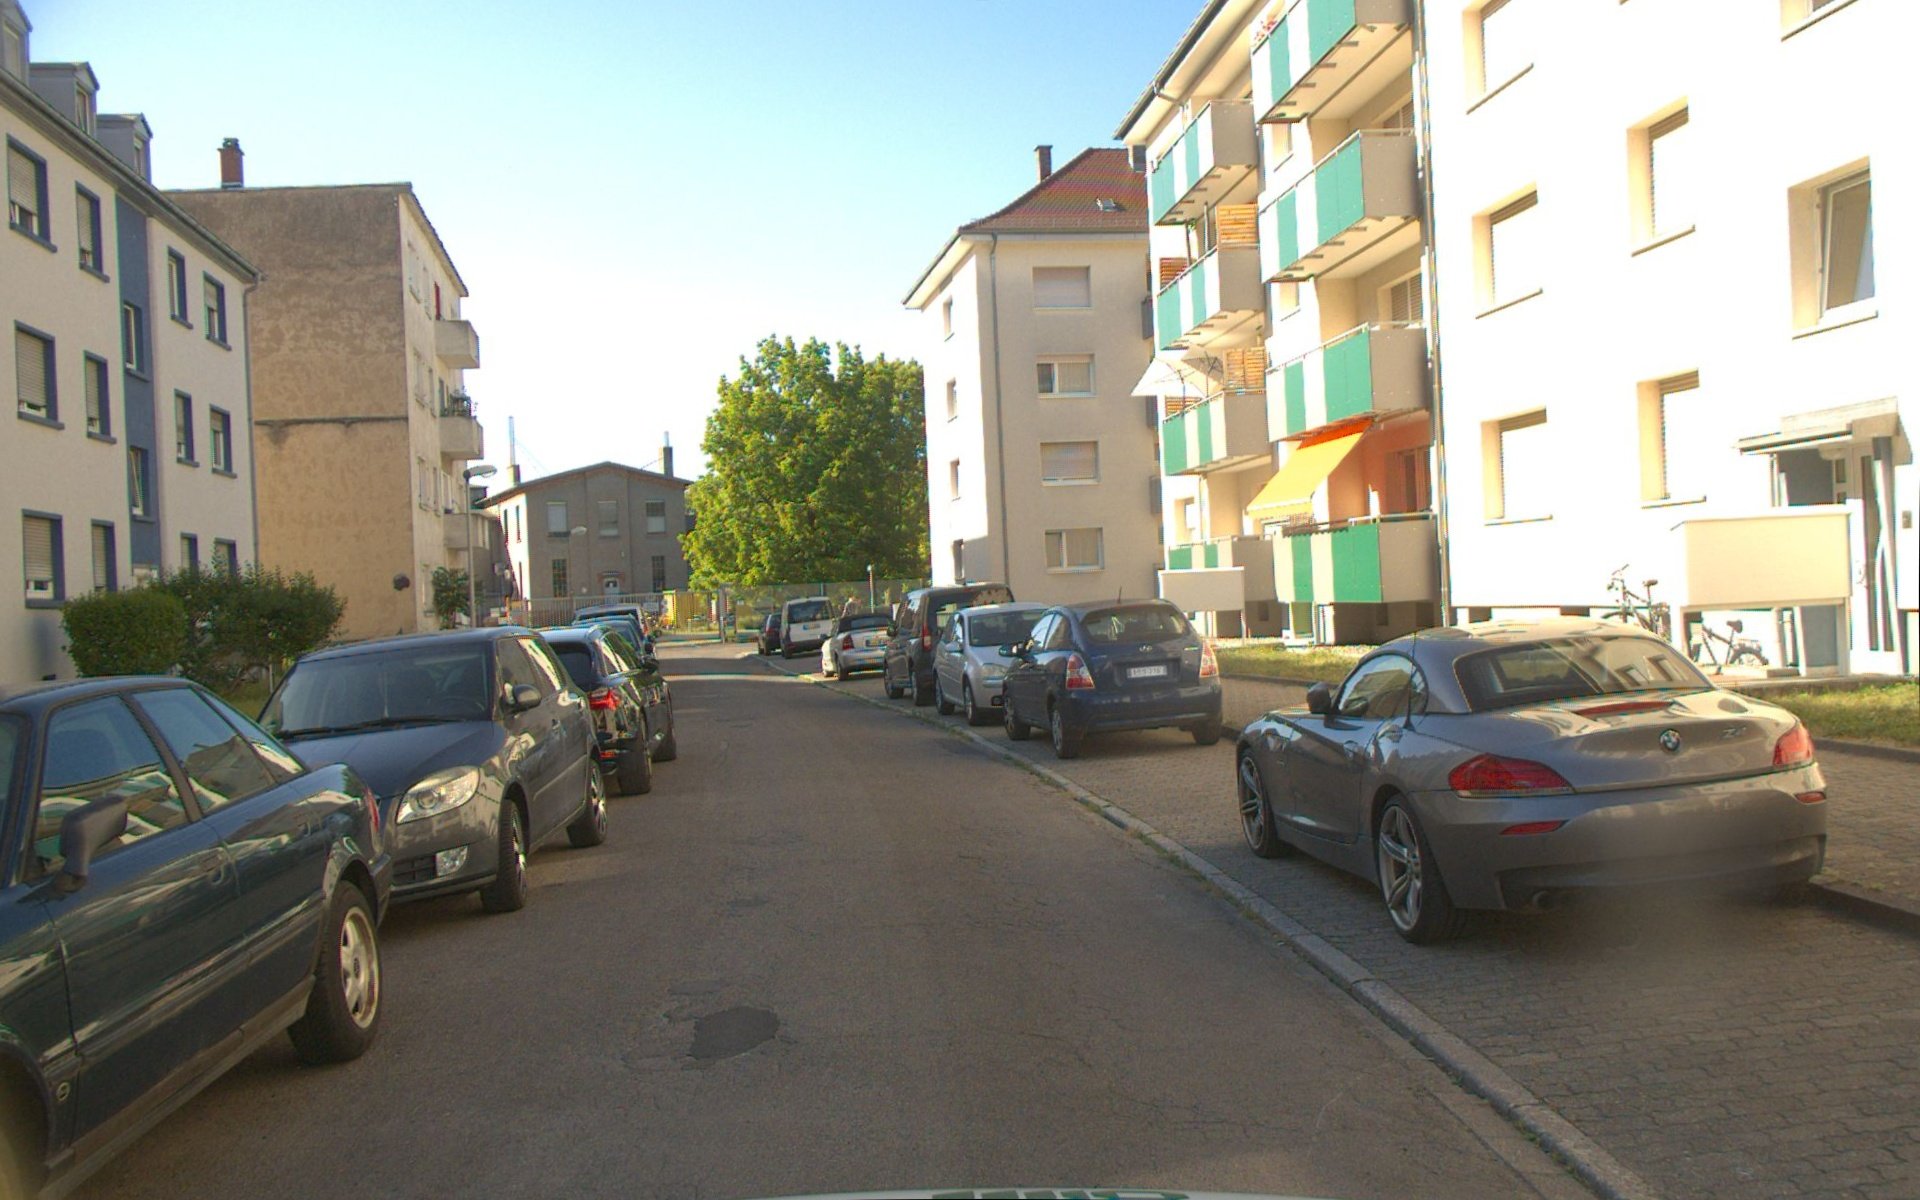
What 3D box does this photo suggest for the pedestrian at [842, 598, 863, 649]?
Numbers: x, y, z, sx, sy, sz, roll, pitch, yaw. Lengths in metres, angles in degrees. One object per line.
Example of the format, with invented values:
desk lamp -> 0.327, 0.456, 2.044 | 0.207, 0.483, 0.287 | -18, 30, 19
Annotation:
pedestrian -> -4.015, 0.871, 61.912 | 0.641, 1.847, 0.614 | -4, -1, -1

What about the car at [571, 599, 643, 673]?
car -> -10.924, 1.122, 51.401 | 1.958, 2.048, 4.442 | -4, -1, -11

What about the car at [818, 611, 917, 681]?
car -> -2.166, 1.042, 37.650 | 1.686, 1.388, 4.044 | -4, -1, -10

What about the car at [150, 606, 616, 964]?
car -> -3.066, 0.880, 9.537 | 1.450, 1.502, 3.629 | -6, 0, -3

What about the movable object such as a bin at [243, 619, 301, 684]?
movable object such as a bin -> -17.660, 1.313, 42.484 | 1.050, 1.566, 1.353 | -4, -1, -13

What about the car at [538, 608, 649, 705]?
car -> -6.761, 1.019, 30.776 | 1.800, 1.541, 3.988 | -4, -1, -11

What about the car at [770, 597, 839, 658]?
car -> -5.076, 0.892, 53.576 | 1.734, 1.770, 4.083 | -4, -1, -11

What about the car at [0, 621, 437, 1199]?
car -> -2.745, 0.879, 4.396 | 1.538, 1.490, 4.258 | -4, 0, -4

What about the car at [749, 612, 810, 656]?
car -> -6.431, 1.214, 58.616 | 1.734, 1.386, 4.083 | -4, 0, -11

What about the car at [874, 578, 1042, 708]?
car -> -0.132, 0.709, 27.341 | 1.863, 1.888, 4.330 | -3, -1, -12

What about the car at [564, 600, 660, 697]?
car -> -7.528, 1.047, 36.039 | 1.863, 1.888, 4.183 | -3, -1, -11

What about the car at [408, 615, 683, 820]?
car -> -3.636, 0.953, 15.302 | 1.710, 1.456, 4.592 | -5, 0, -6

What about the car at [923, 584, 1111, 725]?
car -> 0.662, 0.690, 22.241 | 1.651, 1.615, 4.002 | -3, 0, -10

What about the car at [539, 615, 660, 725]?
car -> -5.599, 1.052, 25.987 | 1.629, 1.468, 3.860 | -4, -1, -11

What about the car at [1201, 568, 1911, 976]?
car -> 2.578, 0.657, 8.362 | 1.653, 1.387, 4.235 | -5, 0, -5

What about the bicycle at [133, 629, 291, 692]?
bicycle -> -14.036, 1.117, 31.118 | 2.626, 1.150, 0.769 | 0, -1, -18

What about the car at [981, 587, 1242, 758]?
car -> 1.459, 0.714, 17.667 | 1.706, 1.456, 4.347 | -4, 0, -9

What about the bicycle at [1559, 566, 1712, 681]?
bicycle -> 7.107, 0.228, 17.504 | 0.637, 1.086, 1.730 | -7, 1, -7

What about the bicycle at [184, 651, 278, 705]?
bicycle -> -14.824, 1.576, 33.660 | 1.617, 0.953, 0.546 | -4, -1, -9
